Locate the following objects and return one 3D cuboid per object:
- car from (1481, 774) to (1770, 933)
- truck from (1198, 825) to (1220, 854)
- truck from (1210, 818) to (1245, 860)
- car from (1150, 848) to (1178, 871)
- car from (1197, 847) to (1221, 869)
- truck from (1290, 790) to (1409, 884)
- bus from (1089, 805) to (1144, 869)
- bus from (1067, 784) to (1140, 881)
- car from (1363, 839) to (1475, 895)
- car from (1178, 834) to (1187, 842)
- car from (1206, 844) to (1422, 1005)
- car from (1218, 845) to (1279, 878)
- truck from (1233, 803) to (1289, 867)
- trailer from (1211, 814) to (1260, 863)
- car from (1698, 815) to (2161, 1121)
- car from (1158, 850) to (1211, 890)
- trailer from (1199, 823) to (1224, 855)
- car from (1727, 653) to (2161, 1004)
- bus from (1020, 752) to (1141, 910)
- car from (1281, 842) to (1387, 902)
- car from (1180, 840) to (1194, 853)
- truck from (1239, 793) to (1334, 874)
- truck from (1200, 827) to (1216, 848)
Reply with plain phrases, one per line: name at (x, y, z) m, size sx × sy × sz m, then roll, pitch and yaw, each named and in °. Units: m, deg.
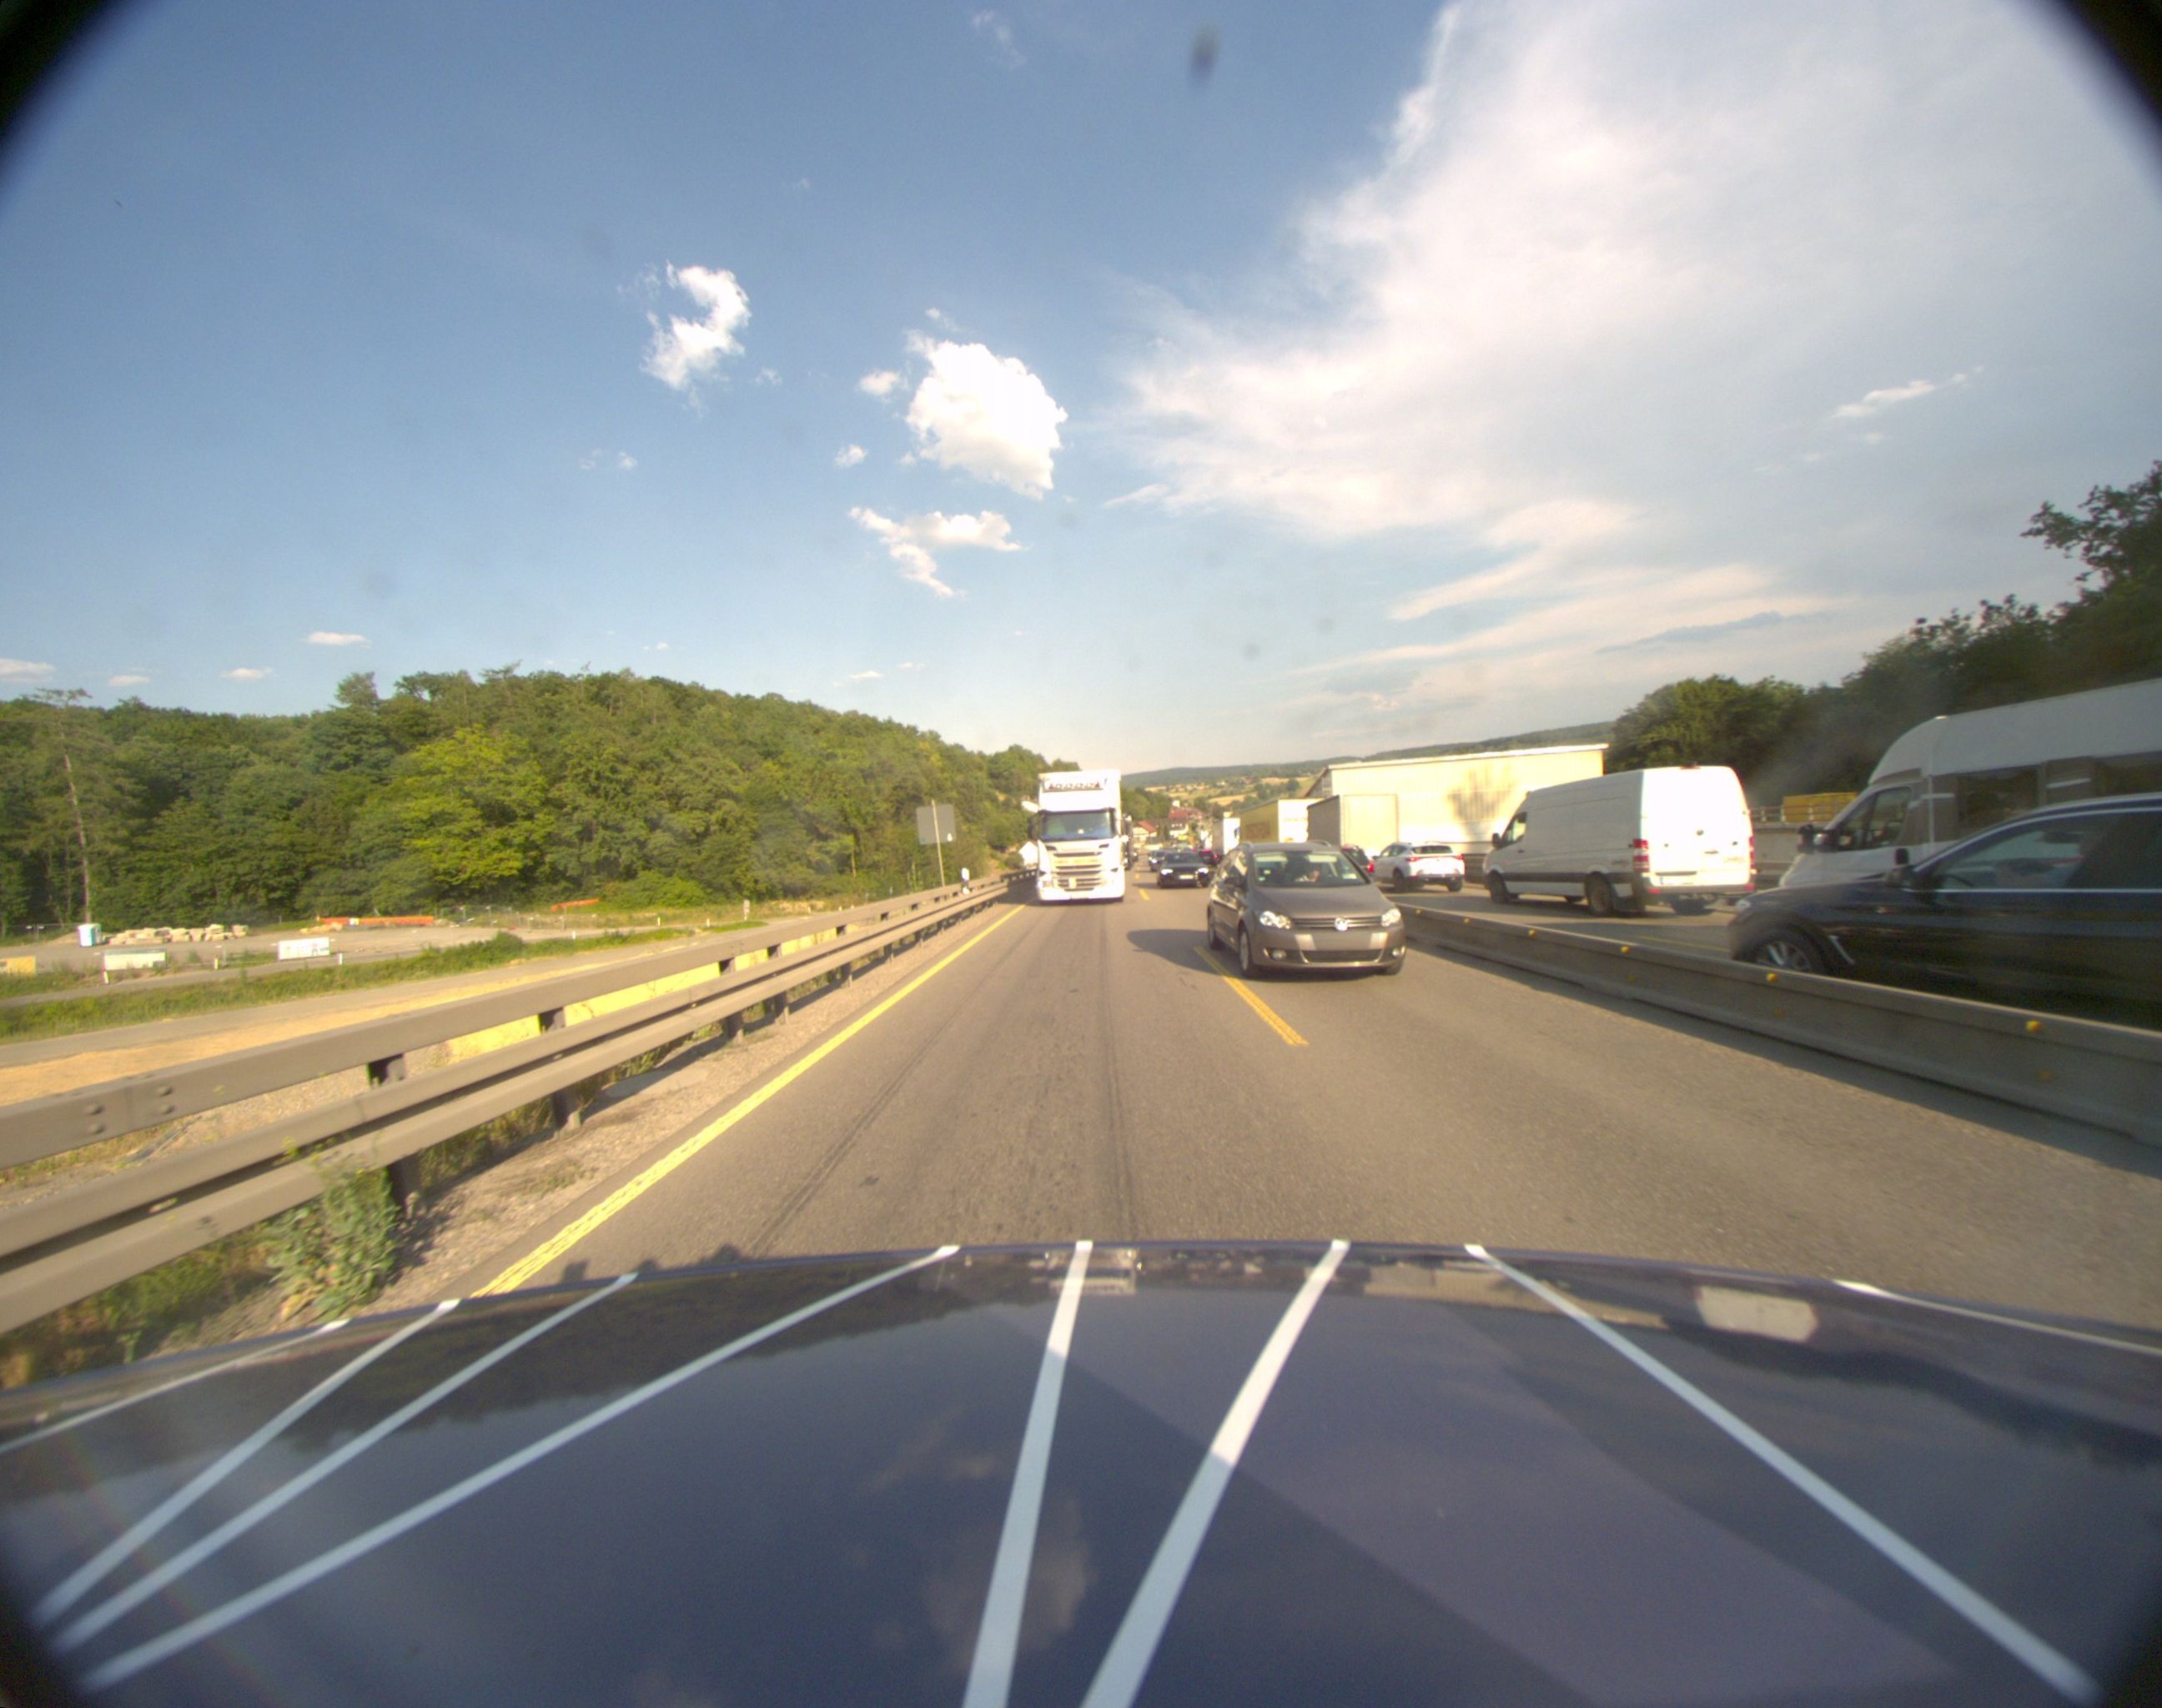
car at (10.521, -0.053, 15.446) m, size 1.961 × 2.606 × 5.748 m, roll -1°, pitch 1°, yaw 3°
truck at (17.555, -1.991, 104.218) m, size 2.604 × 3.865 × 6.205 m, roll -1°, pitch 1°, yaw 7°
truck at (14.637, -1.493, 76.277) m, size 2.850 × 4.013 × 6.102 m, roll -1°, pitch 1°, yaw 6°
car at (5.571, 0.328, 50.963) m, size 1.698 × 1.390 × 4.002 m, roll -3°, pitch 0°, yaw 7°
car at (10.094, 0.288, 60.213) m, size 1.657 × 1.514 × 4.288 m, roll -2°, pitch 1°, yaw 7°
truck at (11.123, -0.667, 32.313) m, size 2.453 × 3.443 × 7.617 m, roll -2°, pitch 1°, yaw 1°
bus at (3.024, -1.303, 60.520) m, size 2.983 × 4.553 × 10.910 m, roll -1°, pitch 0°, yaw 10°
bus at (1.447, -1.036, 41.213) m, size 2.983 × 4.553 × 9.971 m, roll -2°, pitch 0°, yaw 7°
car at (10.205, 0.340, 23.289) m, size 1.767 × 1.514 × 4.002 m, roll -2°, pitch 1°, yaw 3°
car at (28.005, -4.392, 209.125) m, size 1.822 × 1.988 × 4.755 m, roll 0°, pitch 0°, yaw 1°
car at (2.671, 0.689, 9.676) m, size 1.687 × 1.565 × 4.100 m, roll -2°, pitch 1°, yaw 4°
car at (8.066, 0.366, 36.959) m, size 2.063 × 1.478 × 4.727 m, roll 1°, pitch 0°, yaw 2°
truck at (12.335, -1.275, 52.472) m, size 2.719 × 4.065 × 6.101 m, roll -1°, pitch 1°, yaw 4°
trailer at (14.005, -1.385, 69.880) m, size 2.863 × 4.013 × 13.974 m, roll -1°, pitch 1°, yaw 6°
car at (6.479, 0.592, 4.514) m, size 1.822 × 1.569 × 4.755 m, roll 0°, pitch 0°, yaw 1°
car at (4.058, 0.585, 30.334) m, size 1.866 × 1.391 × 4.000 m, roll -1°, pitch 1°, yaw 4°
trailer at (16.990, -1.908, 99.348) m, size 2.602 × 3.858 × 10.580 m, roll -1°, pitch 1°, yaw 7°
car at (10.109, -0.240, 6.718) m, size 2.340 × 2.901 × 7.631 m, roll -1°, pitch 1°, yaw 0°
bus at (0.432, -0.690, 25.511) m, size 2.634 × 4.077 × 11.317 m, roll -1°, pitch 1°, yaw 7°
car at (7.343, 0.502, 22.474) m, size 1.786 × 1.513 × 4.001 m, roll -3°, pitch 0°, yaw 1°
car at (16.127, -1.164, 115.455) m, size 1.866 × 1.899 × 4.001 m, roll -1°, pitch 1°, yaw 6°
truck at (11.910, -1.162, 45.773) m, size 2.713 × 4.065 × 14.154 m, roll -1°, pitch 1°, yaw 4°
truck at (23.390, -3.049, 140.140) m, size 2.898 × 3.689 × 9.493 m, roll -1°, pitch 1°, yaw 9°
